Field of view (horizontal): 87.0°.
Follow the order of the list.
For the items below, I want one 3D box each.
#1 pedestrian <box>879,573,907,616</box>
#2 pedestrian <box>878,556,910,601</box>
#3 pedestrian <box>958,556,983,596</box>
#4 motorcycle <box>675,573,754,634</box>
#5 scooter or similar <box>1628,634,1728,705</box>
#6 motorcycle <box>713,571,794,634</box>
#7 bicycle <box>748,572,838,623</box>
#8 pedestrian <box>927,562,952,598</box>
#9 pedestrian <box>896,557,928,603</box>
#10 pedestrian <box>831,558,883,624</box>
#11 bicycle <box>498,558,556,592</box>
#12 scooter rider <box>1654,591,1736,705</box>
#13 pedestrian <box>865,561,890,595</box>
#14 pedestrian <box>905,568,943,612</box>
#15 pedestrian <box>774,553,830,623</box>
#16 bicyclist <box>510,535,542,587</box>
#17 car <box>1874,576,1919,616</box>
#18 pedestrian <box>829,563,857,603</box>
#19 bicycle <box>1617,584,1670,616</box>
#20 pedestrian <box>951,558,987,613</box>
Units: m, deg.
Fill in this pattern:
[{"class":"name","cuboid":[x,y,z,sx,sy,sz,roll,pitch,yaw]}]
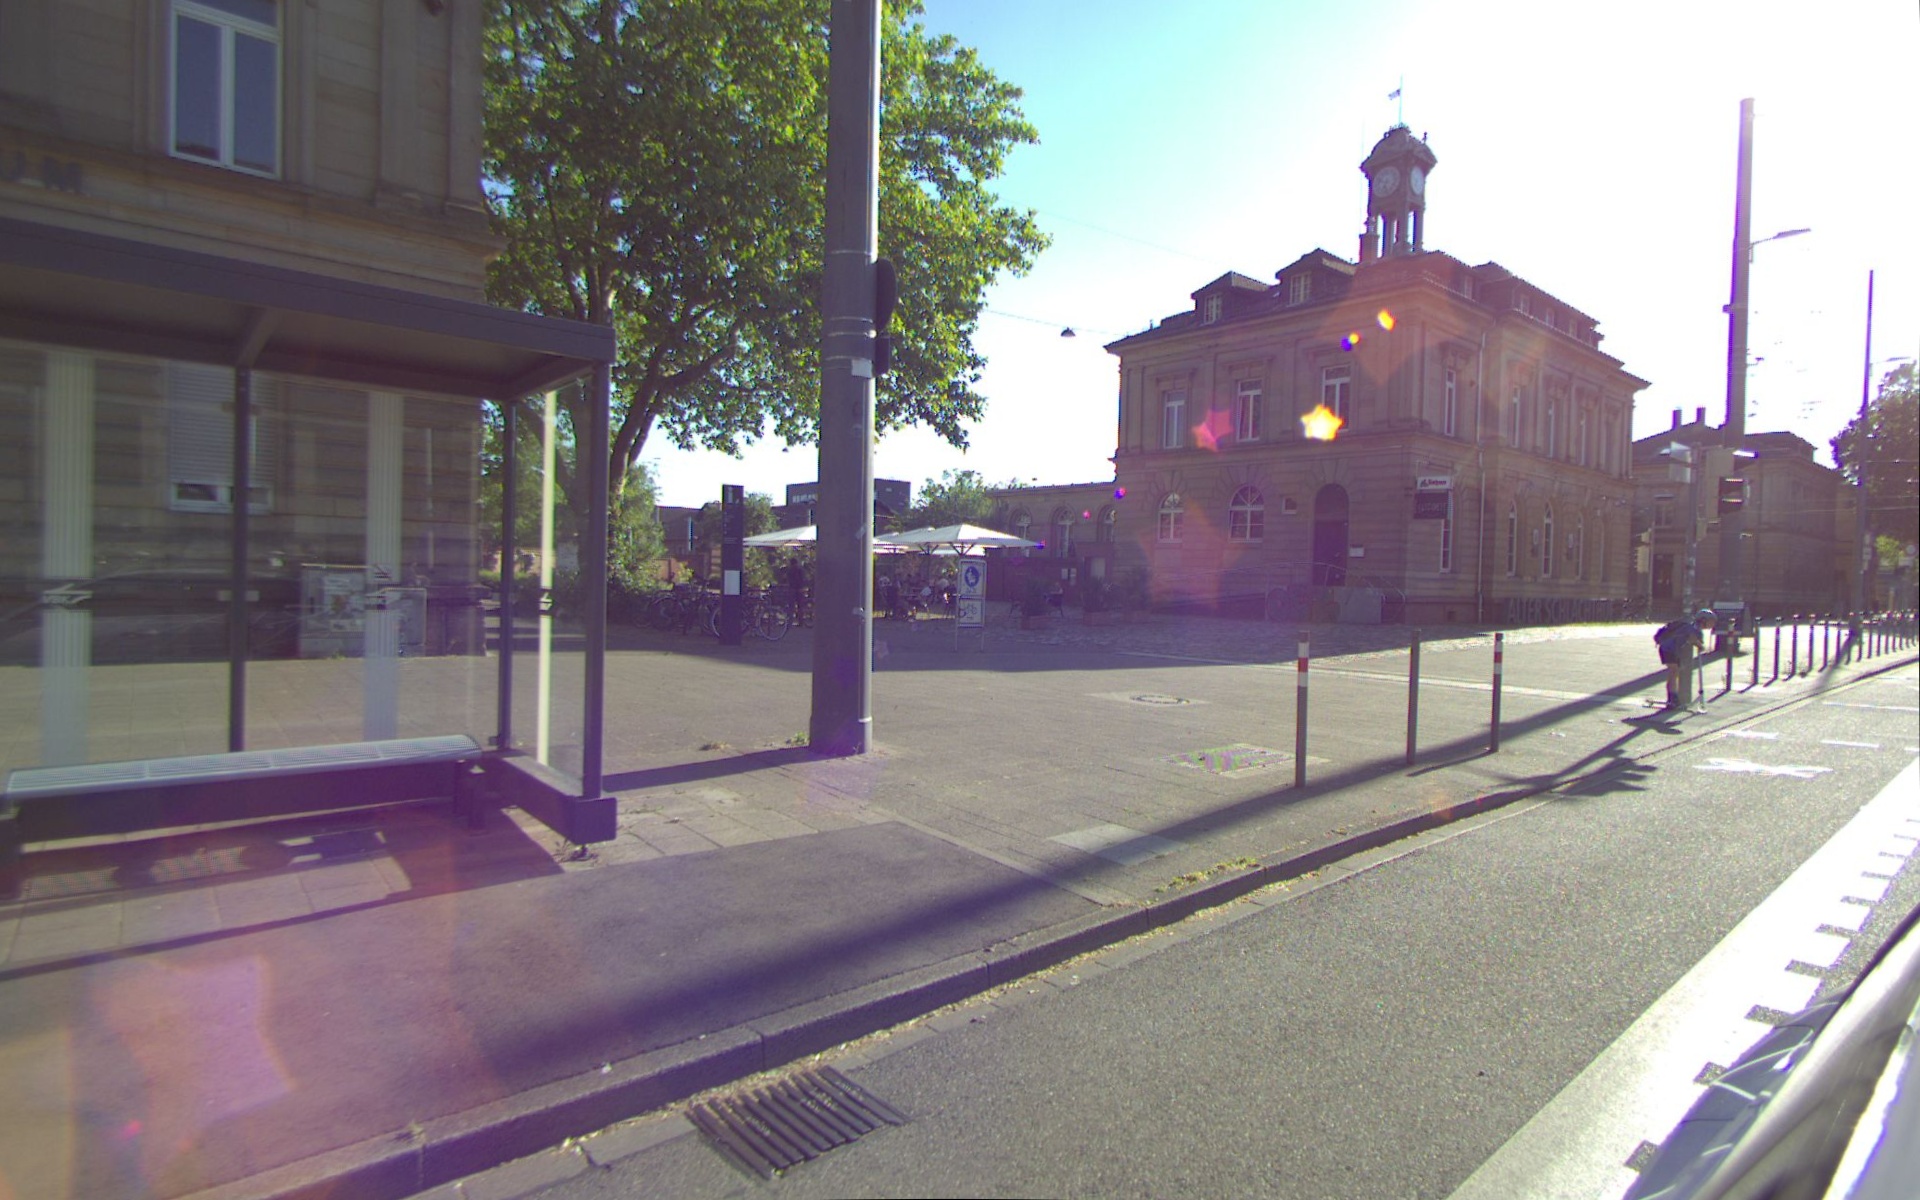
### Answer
[{"class":"pedestrian","cuboid":[-2.210,-0.192,33.225,0.641,1.393,0.675,1,2,-31]},{"class":"pedestrian","cuboid":[-2.688,-0.897,41.154,0.984,1.765,1.034,3,3,13]},{"class":"pedestrian","cuboid":[0.476,-1.095,46.269,0.653,1.765,0.838,0,4,-43]},{"class":"motorcycle","cuboid":[-4.811,0.032,19.705,0.869,1.116,2.085,0,2,-33]},{"class":"scooter or similar","cuboid":[9.402,0.891,13.275,0.260,0.821,1.023,0,2,-39]},{"class":"motorcycle","cuboid":[-4.180,0.014,20.338,0.869,1.174,2.228,0,2,-32]},{"class":"bicycle","cuboid":[-4.447,-0.095,26.811,2.655,1.294,0.771,2,2,38]},{"class":"pedestrian","cuboid":[-0.877,-0.851,43.124,0.653,1.484,0.838,0,4,-42]},{"class":"pedestrian","cuboid":[-1.889,-0.806,40.139,0.984,1.765,1.034,3,3,13]},{"class":"pedestrian","cuboid":[-2.942,-0.273,28.908,0.994,1.810,1.023,5,3,39]},{"class":"bicycle","cuboid":[-17.263,-1.013,40.322,2.648,1.294,0.773,1,1,32]},{"class":"scooter rider","cuboid":[9.580,0.605,13.195,0.589,1.414,0.703,0,2,-40]},{"class":"pedestrian","cuboid":[-3.726,-1.011,45.825,0.835,1.484,0.656,4,3,36]},{"class":"pedestrian","cuboid":[-1.216,-0.338,33.782,0.978,1.396,0.775,1,3,-28]},{"class":"pedestrian","cuboid":[-4.200,-0.326,26.846,0.994,1.765,1.023,5,3,39]},{"class":"bicyclist","cuboid":[-17.324,-1.538,40.373,0.982,2.039,0.772,1,1,32]},{"class":"car","cuboid":[51.167,-0.255,54.704,3.926,2.072,1.834,-1,2,-37]},{"class":"pedestrian","cuboid":[-4.468,-0.644,38.776,0.653,1.484,0.838,0,3,-42]},{"class":"bicycle","cuboid":[27.680,-0.025,41.000,0.678,1.195,1.649,0,3,-42]},{"class":"pedestrian","cuboid":[0.318,-0.504,34.061,1.021,1.765,0.996,2,2,12]}]
